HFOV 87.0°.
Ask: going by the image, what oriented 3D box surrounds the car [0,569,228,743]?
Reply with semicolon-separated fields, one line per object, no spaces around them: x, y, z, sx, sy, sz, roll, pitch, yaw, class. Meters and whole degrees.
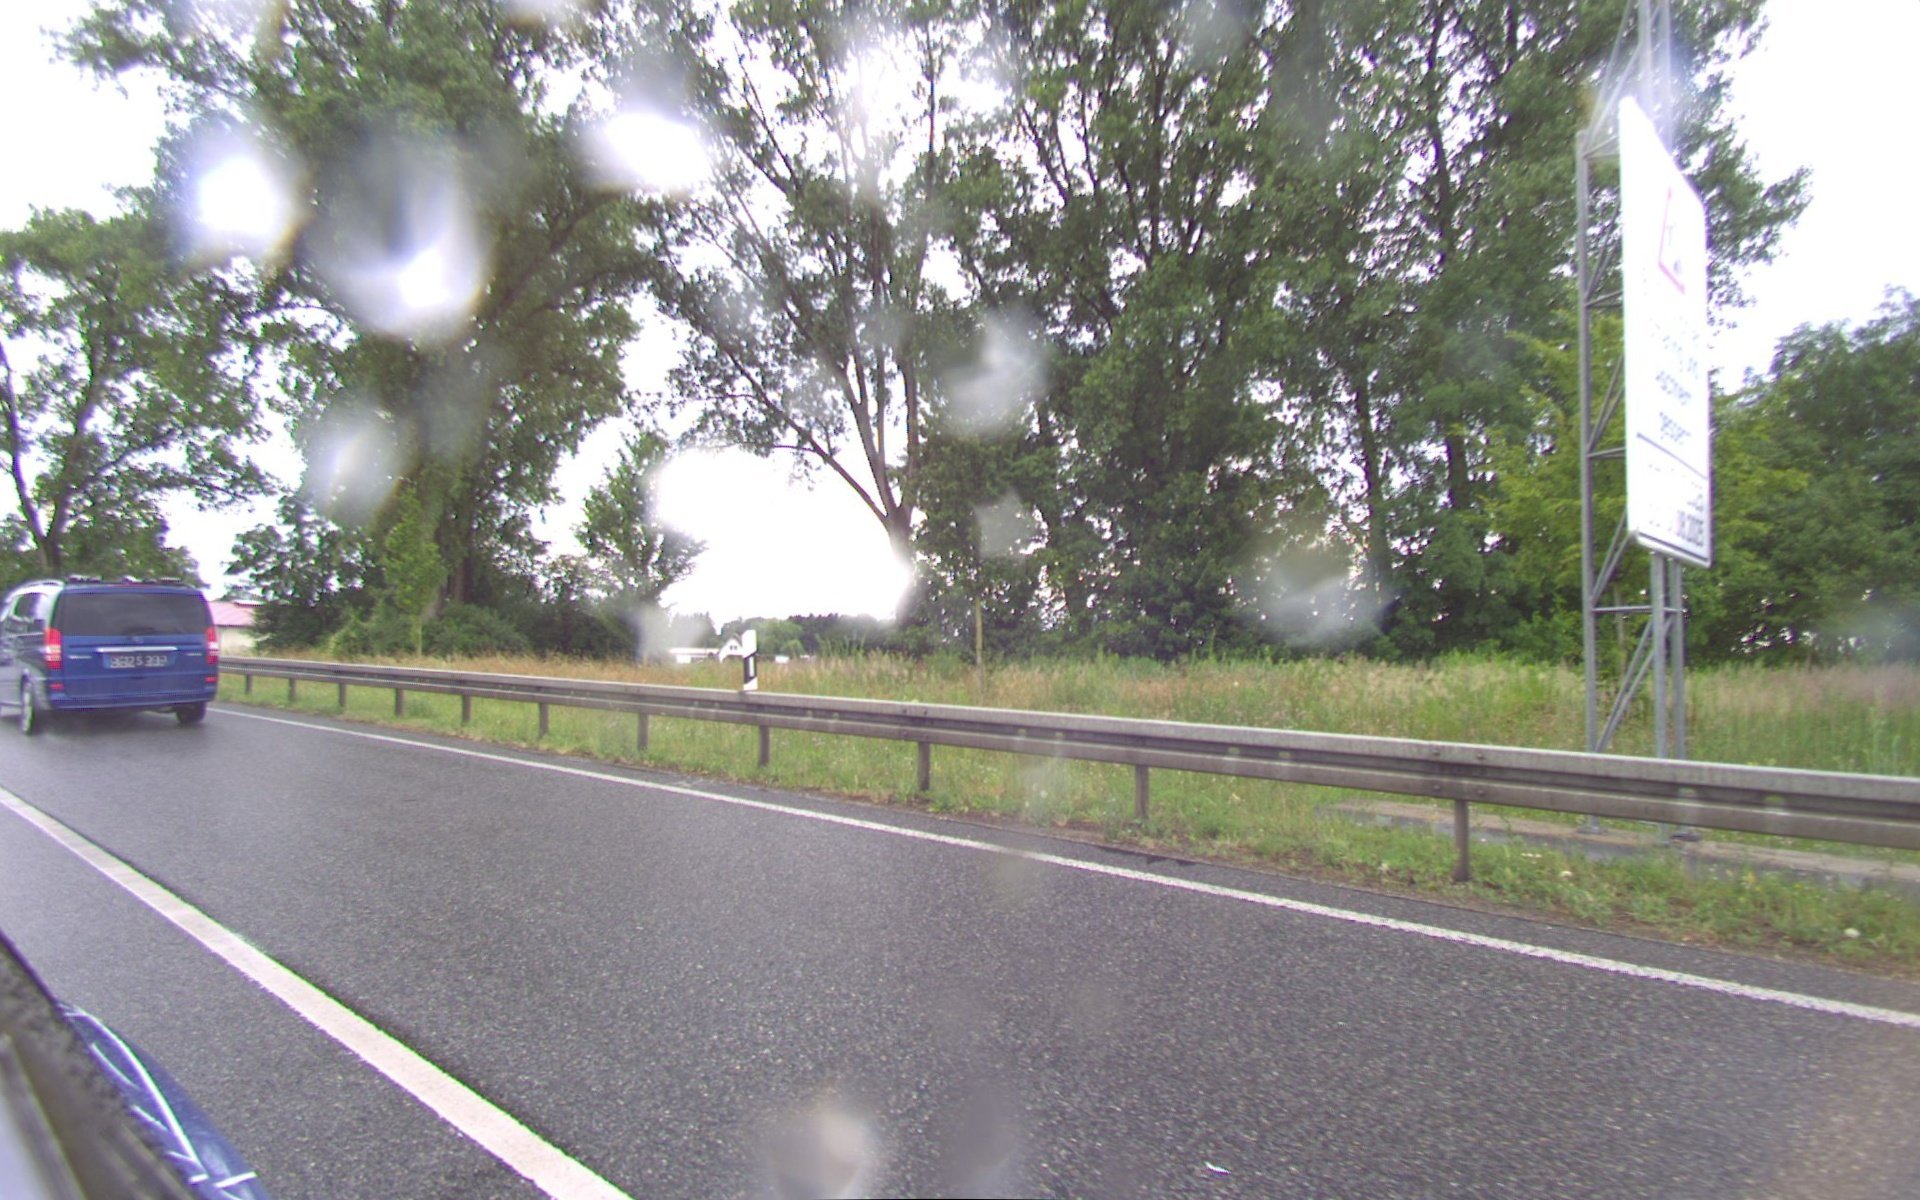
-12.185;0.669;14.061;4.852;2.029;1.944;-1;-1;37;car
